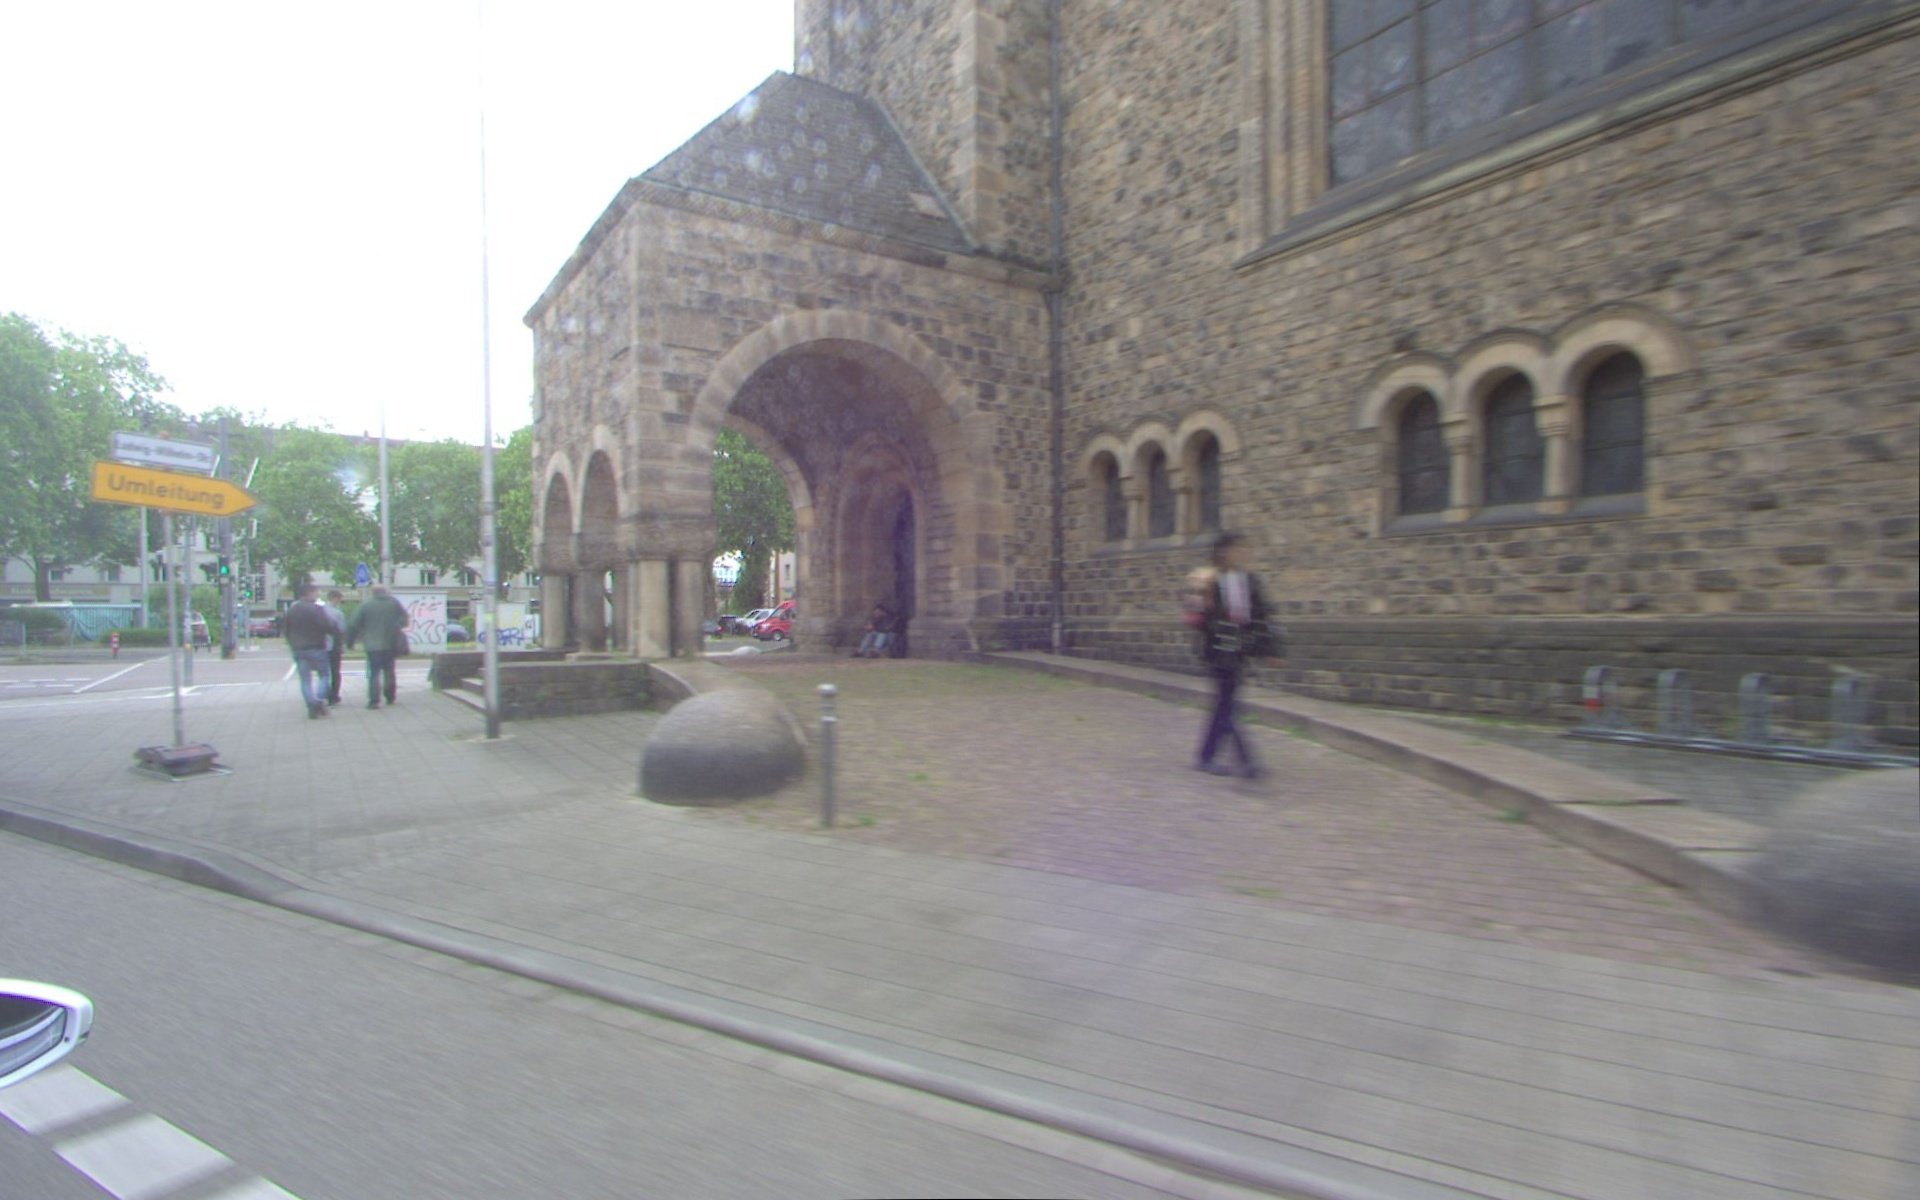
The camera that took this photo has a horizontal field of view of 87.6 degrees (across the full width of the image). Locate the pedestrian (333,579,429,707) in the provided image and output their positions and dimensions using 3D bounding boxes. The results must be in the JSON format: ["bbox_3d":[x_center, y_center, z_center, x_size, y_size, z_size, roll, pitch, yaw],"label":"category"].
[{"bbox_3d":[-8.414,0.601,14.551,0.955,1.783,0.802,0,2,32],"label":"pedestrian"}]

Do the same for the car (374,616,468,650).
[{"bbox_3d":[-26.698,1.606,49.650,3.938,1.582,1.676,0,-1,-35],"label":"car"}]

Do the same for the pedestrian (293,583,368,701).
[{"bbox_3d":[-9.425,0.611,14.991,0.957,1.696,0.630,0,2,39],"label":"pedestrian"}]

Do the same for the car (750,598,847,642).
[{"bbox_3d":[-9.815,1.174,61.018,5.539,2.571,1.979,0,-1,-35],"label":"car"}]

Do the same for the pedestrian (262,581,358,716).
[{"bbox_3d":[-8.593,0.611,13.251,0.955,1.709,0.672,0,2,32],"label":"pedestrian"}]

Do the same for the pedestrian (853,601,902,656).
[{"bbox_3d":[-1.495,0.502,18.065,0.665,0.964,0.611,0,0,-36],"label":"pedestrian"}]

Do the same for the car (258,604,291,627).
[{"bbox_3d":[-47.004,1.055,68.734,1.647,1.535,3.916,0,-1,-31],"label":"car"}]

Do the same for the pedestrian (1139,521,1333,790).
[{"bbox_3d":[2.032,0.357,7.453,0.806,1.834,1.011,0,5,-37],"label":"pedestrian"}]

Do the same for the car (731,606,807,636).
[{"bbox_3d":[-13.774,1.511,72.180,5.022,2.123,1.979,0,-1,-35],"label":"car"}]

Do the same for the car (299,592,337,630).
[{"bbox_3d":[-46.462,0.788,72.554,2.211,2.674,5.417,0,-1,-31],"label":"car"}]

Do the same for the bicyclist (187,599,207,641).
[{"bbox_3d":[-30.178,0.790,39.613,0.608,1.676,0.749,0,0,-36],"label":"bicyclist"}]

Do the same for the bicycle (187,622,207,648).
[{"bbox_3d":[-30.241,1.377,39.705,0.546,1.008,2.047,0,-1,-35],"label":"bicycle"}]
